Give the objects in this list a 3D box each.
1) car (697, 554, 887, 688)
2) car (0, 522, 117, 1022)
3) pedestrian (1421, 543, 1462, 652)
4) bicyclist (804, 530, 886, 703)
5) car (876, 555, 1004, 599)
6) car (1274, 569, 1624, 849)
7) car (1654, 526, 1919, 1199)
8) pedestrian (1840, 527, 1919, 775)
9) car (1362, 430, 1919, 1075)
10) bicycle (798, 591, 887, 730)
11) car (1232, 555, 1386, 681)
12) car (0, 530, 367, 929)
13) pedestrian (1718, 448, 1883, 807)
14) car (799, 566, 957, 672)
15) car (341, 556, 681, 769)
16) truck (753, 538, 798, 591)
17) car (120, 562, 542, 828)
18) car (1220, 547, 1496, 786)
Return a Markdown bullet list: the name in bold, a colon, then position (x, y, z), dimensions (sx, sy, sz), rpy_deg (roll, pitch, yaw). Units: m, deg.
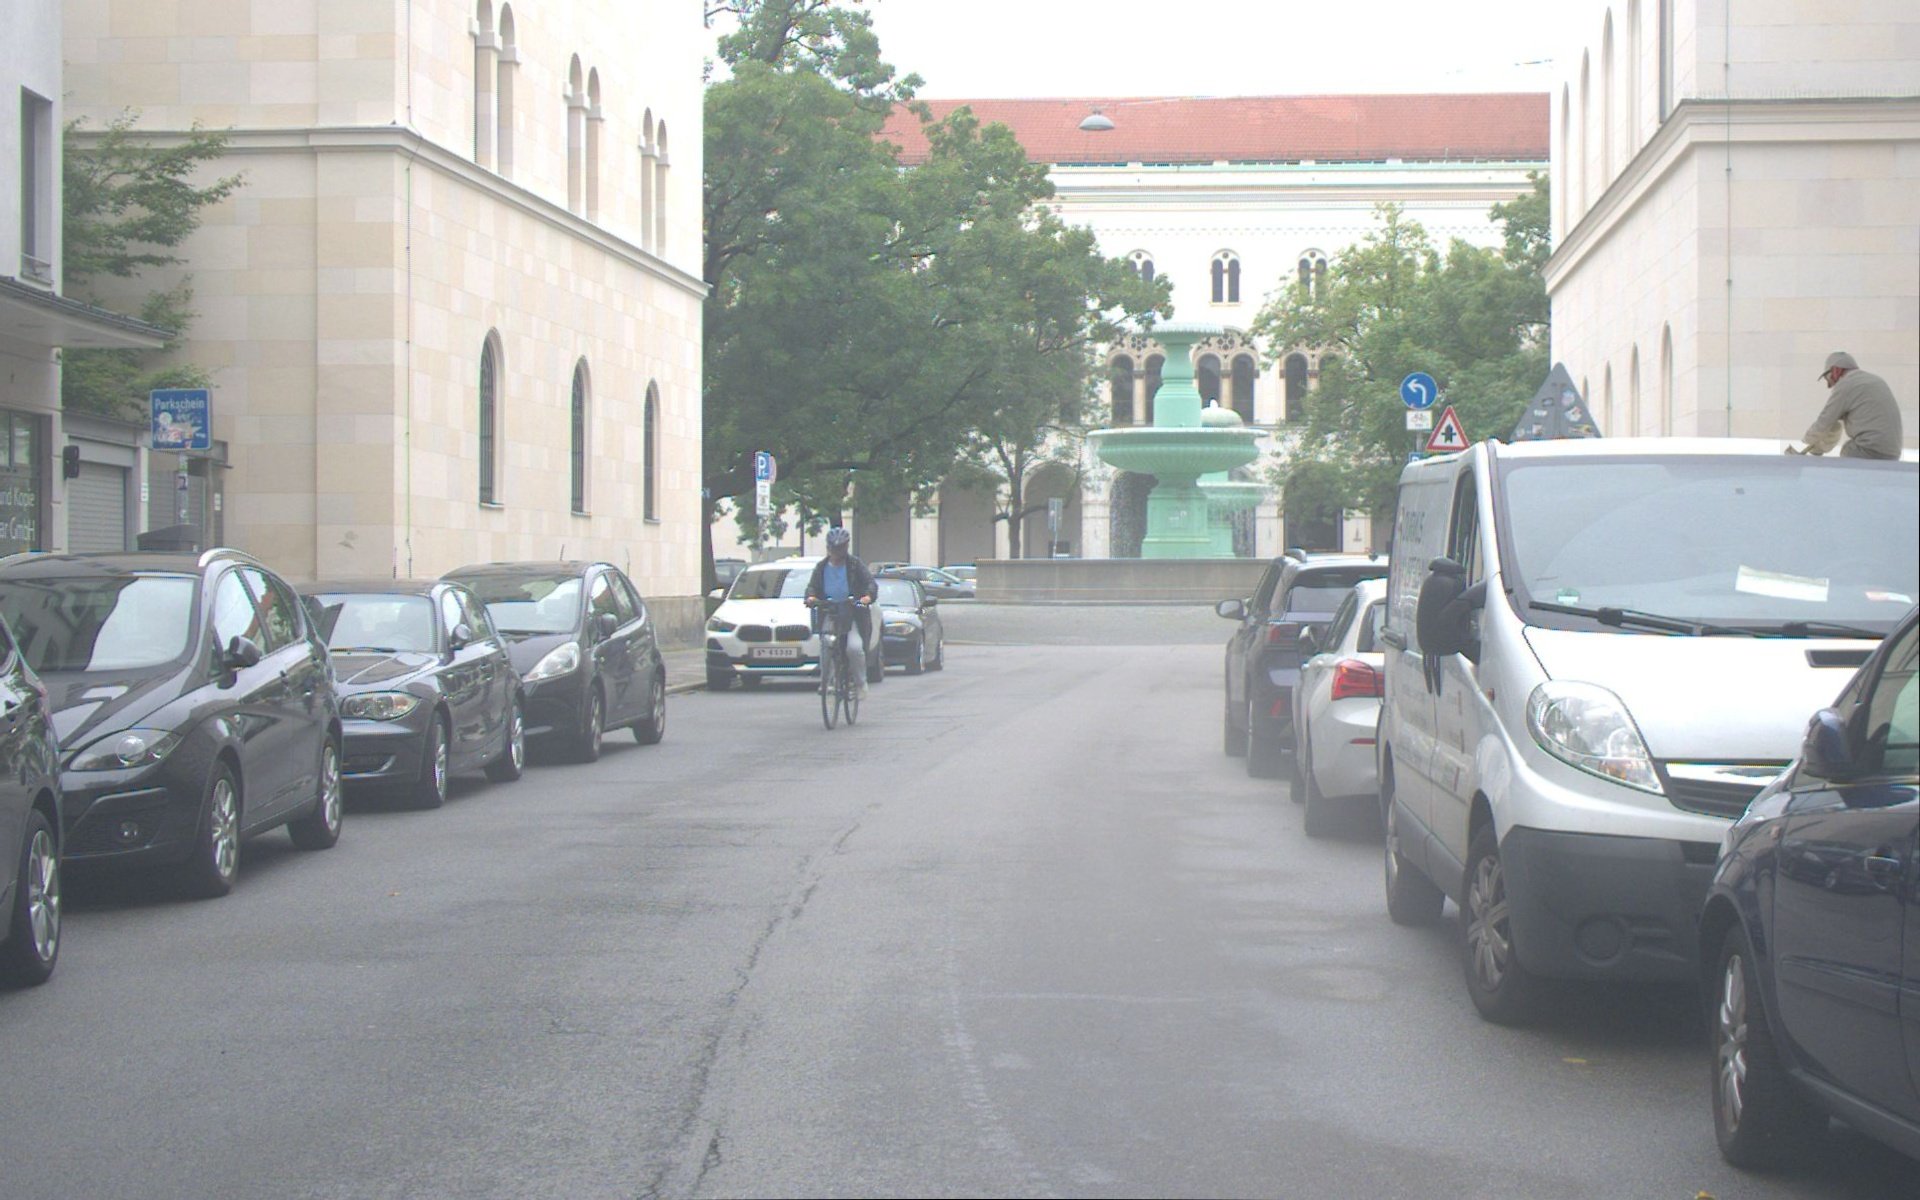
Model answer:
- **car**: position (-2.006, 0.243, 42.199), dimensions (1.778, 1.529, 4.211), rpy_deg (-1, 0, 4)
- **car**: position (-4.123, 0.608, 11.032), dimensions (1.872, 1.652, 4.591), rpy_deg (-2, 2, -3)
- **pedestrian**: position (7.995, -0.041, 57.076), dimensions (0.642, 1.802, 0.489), rpy_deg (0, 1, 11)
- **bicyclist**: position (-1.037, 0.142, 31.165), dimensions (0.657, 1.545, 0.887), rpy_deg (0, 0, 3)
- **car**: position (-0.637, -0.742, 111.092), dimensions (3.987, 1.371, 2.000), rpy_deg (0, 1, 4)
- **car**: position (2.740, 0.550, 20.033), dimensions (1.673, 1.412, 4.201), rpy_deg (1, 1, 4)
- **car**: position (2.797, 0.647, 7.012), dimensions (1.807, 1.595, 4.215), rpy_deg (0, 1, -2)
- **pedestrian**: position (6.186, 0.309, 21.830), dimensions (0.949, 1.542, 0.674), rpy_deg (0, 1, -16)
- **car**: position (2.622, 0.412, 12.652), dimensions (1.882, 1.917, 4.874), rpy_deg (0, 1, 2)
- **bicycle**: position (-1.051, 0.532, 31.174), dimensions (0.648, 1.193, 1.950), rpy_deg (-1, 1, 2)
- **car**: position (4.359, 0.189, 42.855), dimensions (1.790, 1.471, 4.312), rpy_deg (1, 1, 6)
- **car**: position (-4.188, 0.527, 16.702), dimensions (1.872, 1.652, 4.080), rpy_deg (-2, 2, 0)
- **pedestrian**: position (5.234, 0.159, 21.445), dimensions (0.793, 2.190, 0.814), rpy_deg (1, 1, 0)
- **car**: position (-1.110, 0.251, 48.534), dimensions (1.699, 1.388, 4.211), rpy_deg (-1, 0, 5)
- **car**: position (-3.424, 0.431, 26.955), dimensions (1.751, 1.448, 4.015), rpy_deg (-1, 2, 6)
- **truck**: position (-8.976, -1.740, 166.794), dimensions (1.993, 2.480, 4.001), rpy_deg (1, 1, -6)
- **car**: position (-3.944, 0.540, 22.209), dimensions (1.751, 1.448, 4.015), rpy_deg (-1, 2, 3)
- **car**: position (2.831, 0.426, 25.154), dimensions (1.747, 1.588, 3.955), rpy_deg (1, 1, 3)
